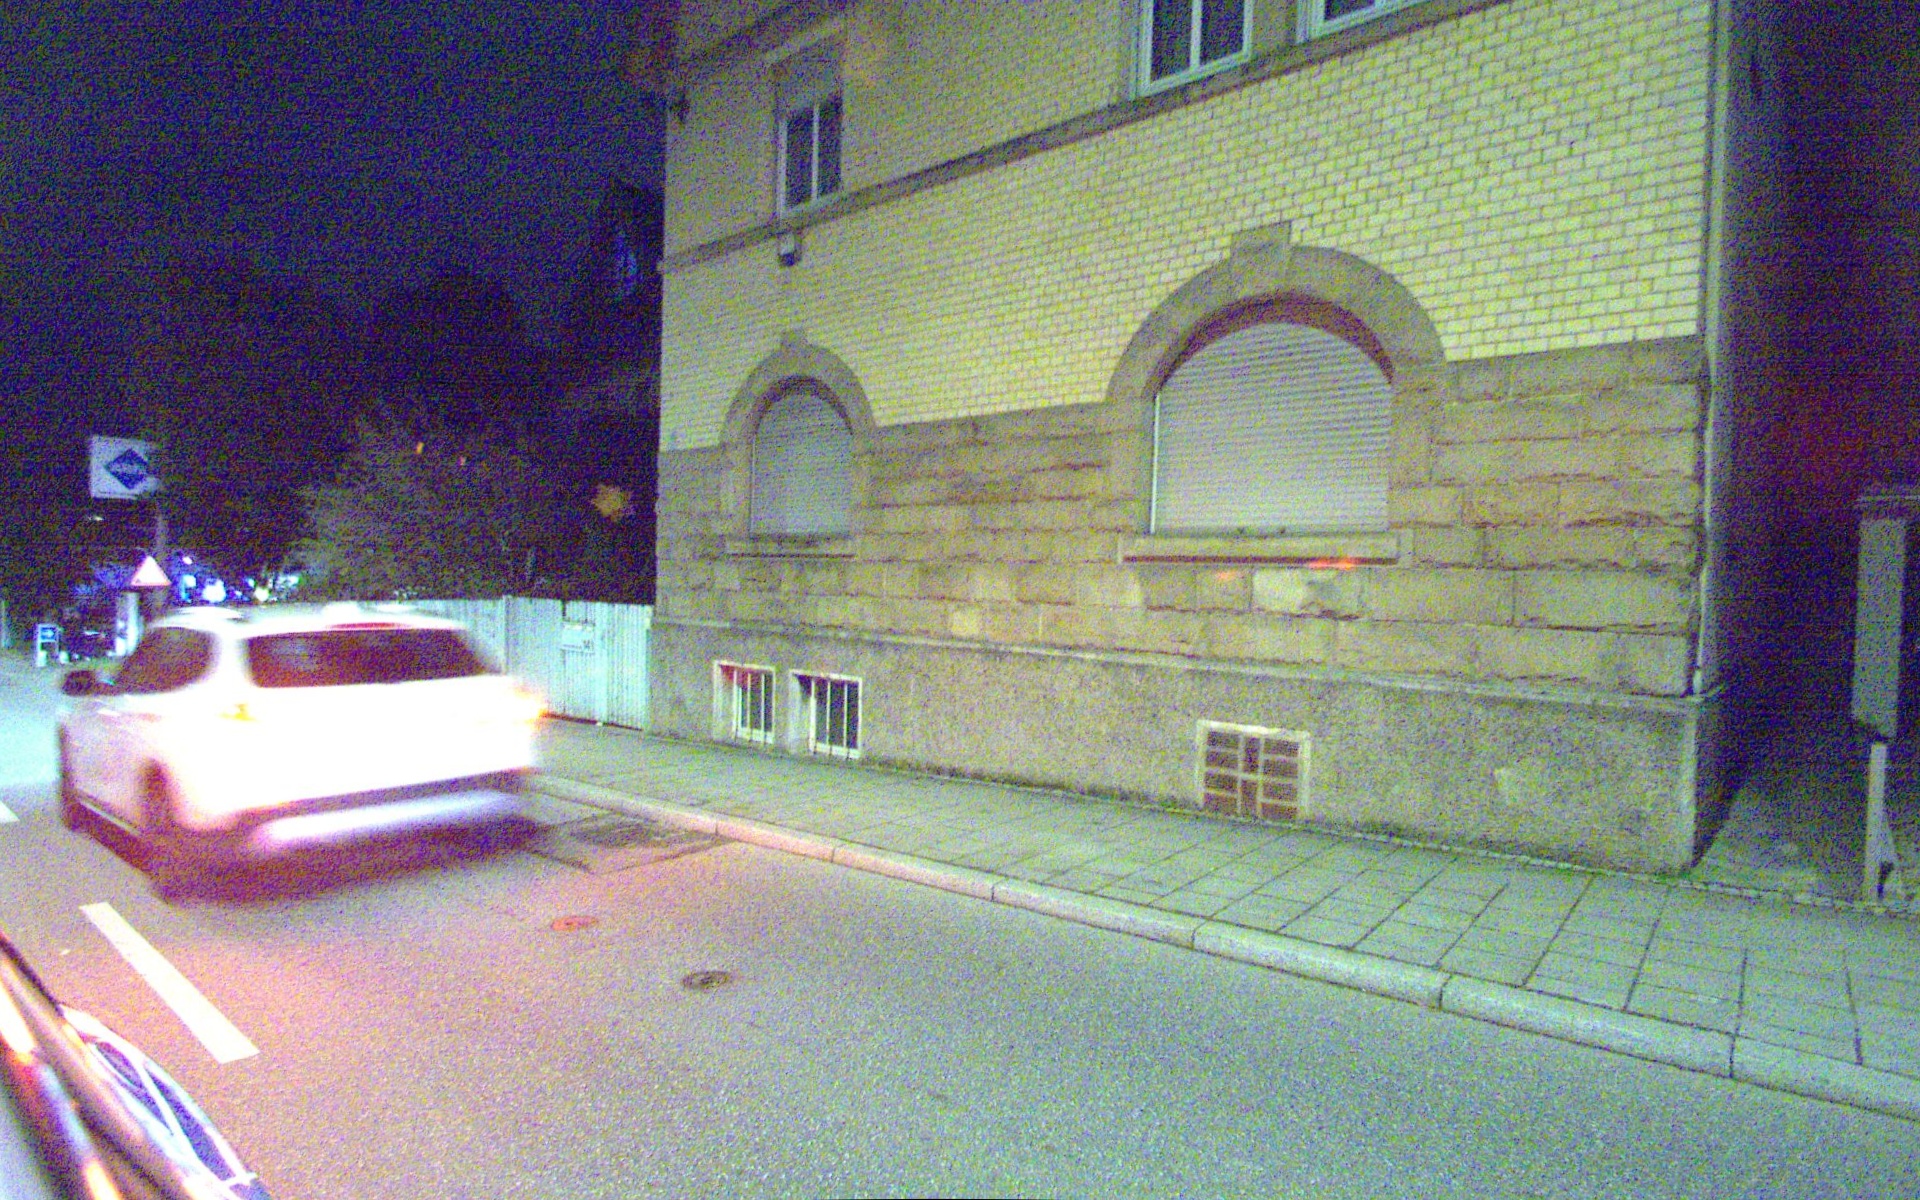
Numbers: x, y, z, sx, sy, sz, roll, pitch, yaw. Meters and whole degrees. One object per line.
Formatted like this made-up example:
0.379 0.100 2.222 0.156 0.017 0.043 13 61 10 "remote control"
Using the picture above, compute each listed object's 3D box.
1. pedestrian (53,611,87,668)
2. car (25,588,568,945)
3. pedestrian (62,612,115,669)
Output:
-27.963 1.225 31.808 0.865 1.739 0.662 -1 -1 38 "pedestrian"
-4.366 0.744 6.407 4.025 1.546 1.838 -1 0 41 "car"
-26.850 1.230 31.210 0.733 1.684 1.104 0 0 -5 "pedestrian"
